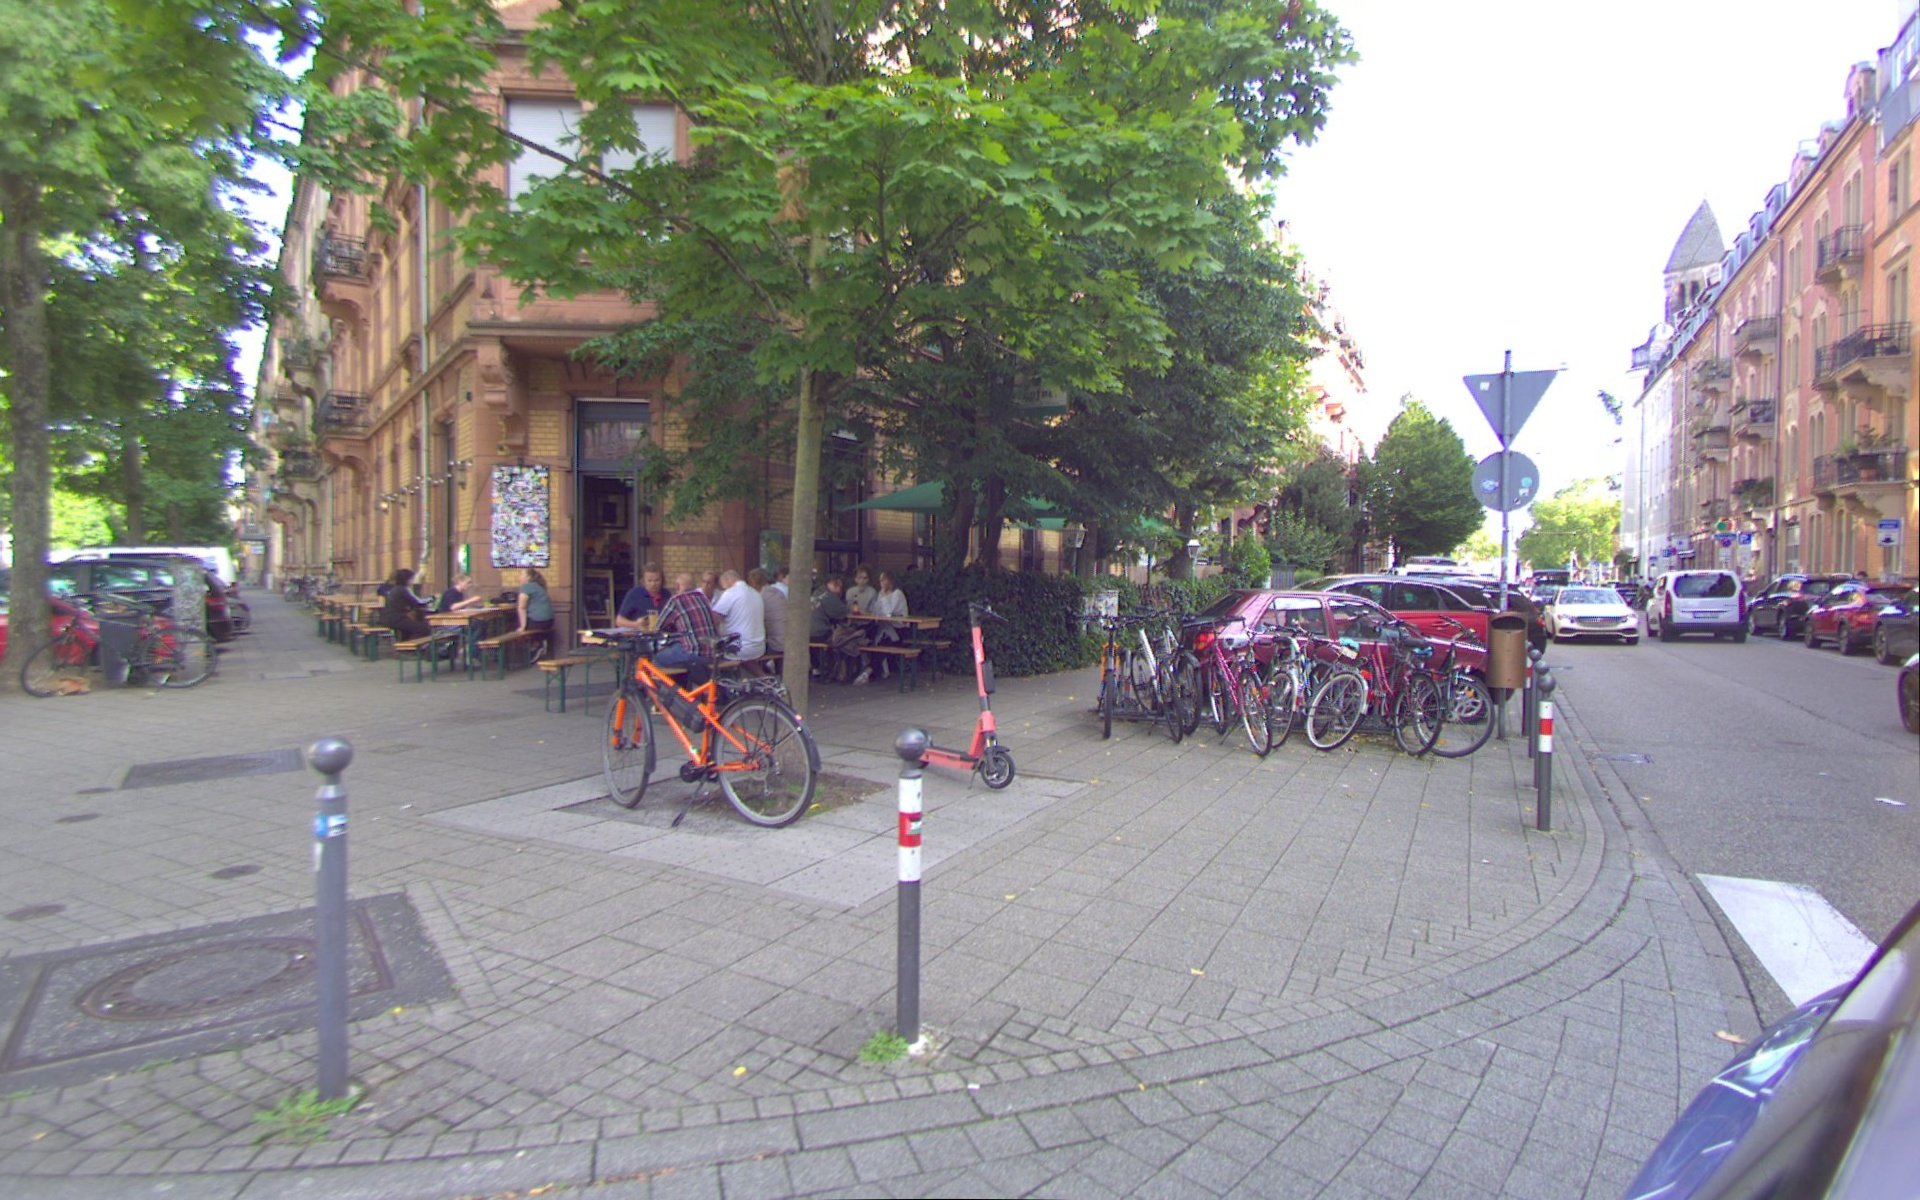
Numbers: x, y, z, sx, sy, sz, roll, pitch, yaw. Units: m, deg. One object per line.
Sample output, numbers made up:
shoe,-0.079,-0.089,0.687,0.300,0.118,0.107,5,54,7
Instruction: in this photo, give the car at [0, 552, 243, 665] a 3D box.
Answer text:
car,-14.032,0.089,15.946,4.227,1.588,2.009,-3,3,-30

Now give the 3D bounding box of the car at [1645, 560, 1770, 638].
car,19.891,-0.066,27.149,1.926,1.903,4.790,0,1,27

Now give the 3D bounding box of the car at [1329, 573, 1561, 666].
car,8.965,0.323,18.929,3.526,1.482,1.511,3,2,6

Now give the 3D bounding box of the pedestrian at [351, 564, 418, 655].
pedestrian,-8.646,0.128,15.207,0.755,1.300,0.629,-3,3,-38

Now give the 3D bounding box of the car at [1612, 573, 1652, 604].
car,40.642,-0.737,61.259,1.671,1.807,3.979,1,2,29

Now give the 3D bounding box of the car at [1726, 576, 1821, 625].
car,24.729,-0.011,30.878,1.611,1.396,3.724,-1,1,29

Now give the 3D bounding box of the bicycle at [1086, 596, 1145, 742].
bicycle,1.399,0.563,9.156,0.427,1.114,1.671,2,2,8

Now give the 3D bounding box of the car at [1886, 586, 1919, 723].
car,10.007,0.579,8.668,1.752,1.399,4.414,-1,1,25

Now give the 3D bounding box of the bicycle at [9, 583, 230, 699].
bicycle,-9.150,0.410,11.121,1.765,1.127,0.601,-2,3,-32

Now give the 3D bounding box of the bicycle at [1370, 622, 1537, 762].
bicycle,4.369,0.765,9.116,0.463,0.997,1.867,2,2,-3

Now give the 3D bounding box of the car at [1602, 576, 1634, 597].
car,45.401,-0.922,69.853,1.612,1.396,3.723,0,1,29

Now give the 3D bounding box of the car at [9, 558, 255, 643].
car,-16.490,-0.035,20.412,3.638,1.475,1.670,-3,2,-35

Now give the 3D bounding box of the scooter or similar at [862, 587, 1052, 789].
scooter or similar,-0.046,0.547,6.965,0.547,1.226,1.291,2,0,-42

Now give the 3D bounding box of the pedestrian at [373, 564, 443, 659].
pedestrian,-7.972,0.146,14.605,0.755,1.300,0.629,-3,3,-38

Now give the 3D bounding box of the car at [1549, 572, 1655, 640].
car,16.927,0.111,26.904,1.926,1.617,4.790,0,1,27

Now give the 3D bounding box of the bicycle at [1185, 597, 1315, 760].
bicycle,2.431,0.602,8.697,0.466,1.157,1.841,2,2,-3

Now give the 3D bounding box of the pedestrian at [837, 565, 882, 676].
pedestrian,-1.251,0.242,12.639,0.458,1.343,0.621,1,2,5

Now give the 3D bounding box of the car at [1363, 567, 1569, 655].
car,10.728,0.189,21.652,3.526,1.632,1.511,3,2,6

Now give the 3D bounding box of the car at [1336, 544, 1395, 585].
car,19.074,-1.624,47.552,1.724,1.825,3.950,0,1,35

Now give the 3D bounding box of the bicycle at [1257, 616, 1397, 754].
bicycle,3.269,0.712,9.192,0.463,0.997,1.867,2,2,-3

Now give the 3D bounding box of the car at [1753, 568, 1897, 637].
car,22.356,0.027,26.354,1.745,1.618,4.304,0,1,25

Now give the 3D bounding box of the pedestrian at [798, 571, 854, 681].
pedestrian,-1.571,0.290,11.925,0.539,1.247,0.621,1,2,5

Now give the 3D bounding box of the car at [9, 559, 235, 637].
car,-18.425,-0.105,22.484,3.639,1.475,1.670,-4,4,-35

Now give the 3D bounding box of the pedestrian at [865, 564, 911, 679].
pedestrian,-0.863,0.243,12.254,0.458,1.343,0.621,1,2,5

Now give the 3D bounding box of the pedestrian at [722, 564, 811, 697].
pedestrian,-2.029,0.297,10.655,0.719,1.331,0.605,2,2,17

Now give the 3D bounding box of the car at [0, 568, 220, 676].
car,-12.348,0.295,13.396,4.039,1.286,1.566,-3,2,-38

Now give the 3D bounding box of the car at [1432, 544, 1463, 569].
car,36.755,-3.253,76.372,1.830,1.756,3.969,0,1,23

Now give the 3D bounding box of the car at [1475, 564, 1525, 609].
car,25.438,-0.630,47.609,1.983,2.039,3.959,0,1,29

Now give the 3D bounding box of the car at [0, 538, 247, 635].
car,-20.029,-0.395,24.051,4.826,2.013,2.045,-4,4,-39

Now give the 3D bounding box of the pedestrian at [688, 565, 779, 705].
pedestrian,-2.251,0.326,10.070,0.719,1.331,0.518,2,2,17

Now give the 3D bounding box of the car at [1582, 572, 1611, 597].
car,52.387,-1.277,83.326,1.713,1.957,3.971,1,2,29

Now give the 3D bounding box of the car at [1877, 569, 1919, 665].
car,17.052,0.285,16.715,1.846,1.604,4.355,0,1,29

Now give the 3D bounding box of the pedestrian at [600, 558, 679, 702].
pedestrian,-3.268,0.277,10.298,0.656,1.395,0.718,-1,2,-26

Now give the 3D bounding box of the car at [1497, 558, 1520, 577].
car,57.172,-3.319,105.414,1.983,1.912,3.957,0,1,31

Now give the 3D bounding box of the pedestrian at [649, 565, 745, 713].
pedestrian,-2.492,0.347,9.605,0.719,1.331,0.518,2,2,17

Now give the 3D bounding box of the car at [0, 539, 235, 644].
car,-15.297,-0.166,18.168,3.637,1.742,1.861,-1,1,-35

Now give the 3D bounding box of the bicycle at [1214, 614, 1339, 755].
bicycle,2.760,0.689,9.001,0.410,0.997,1.841,2,2,-3

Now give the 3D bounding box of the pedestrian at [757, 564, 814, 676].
pedestrian,-2.109,0.226,12.276,0.539,1.316,0.621,1,2,5

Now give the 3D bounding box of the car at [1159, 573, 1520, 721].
car,4.203,0.481,11.633,3.523,1.397,1.512,3,2,4

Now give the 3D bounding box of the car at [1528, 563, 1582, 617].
car,24.253,-0.452,41.222,1.780,2.089,3.956,1,2,31

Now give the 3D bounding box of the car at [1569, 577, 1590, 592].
car,62.369,-1.589,101.865,1.612,1.396,3.723,1,2,29

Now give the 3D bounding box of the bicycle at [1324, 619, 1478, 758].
bicycle,3.925,0.742,9.173,0.463,0.997,1.867,2,2,-3

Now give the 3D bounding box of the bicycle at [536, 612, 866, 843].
bicycle,-1.486,0.637,5.706,1.840,1.048,0.677,2,2,29

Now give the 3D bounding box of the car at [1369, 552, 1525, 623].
car,17.509,-0.462,36.547,4.646,2.453,2.001,-1,0,-3

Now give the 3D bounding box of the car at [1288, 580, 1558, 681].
car,7.262,0.441,16.153,3.526,1.339,1.511,3,2,6

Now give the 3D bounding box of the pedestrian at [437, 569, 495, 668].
pedestrian,-6.509,0.223,13.336,0.629,1.239,0.513,-2,4,-29

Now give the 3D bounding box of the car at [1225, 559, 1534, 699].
car,5.595,0.341,13.862,3.526,1.635,1.511,3,2,6

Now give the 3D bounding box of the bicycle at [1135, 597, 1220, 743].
bicycle,1.936,0.576,9.161,0.467,1.114,1.674,2,2,4

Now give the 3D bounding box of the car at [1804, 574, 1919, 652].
car,19.706,0.215,21.580,1.746,1.515,4.094,0,1,27

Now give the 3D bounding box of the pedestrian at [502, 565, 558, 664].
pedestrian,-5.794,0.180,13.638,0.629,1.274,0.513,-2,4,-29

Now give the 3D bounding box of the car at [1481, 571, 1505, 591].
car,45.687,-1.632,86.750,1.748,1.627,3.637,1,2,29
